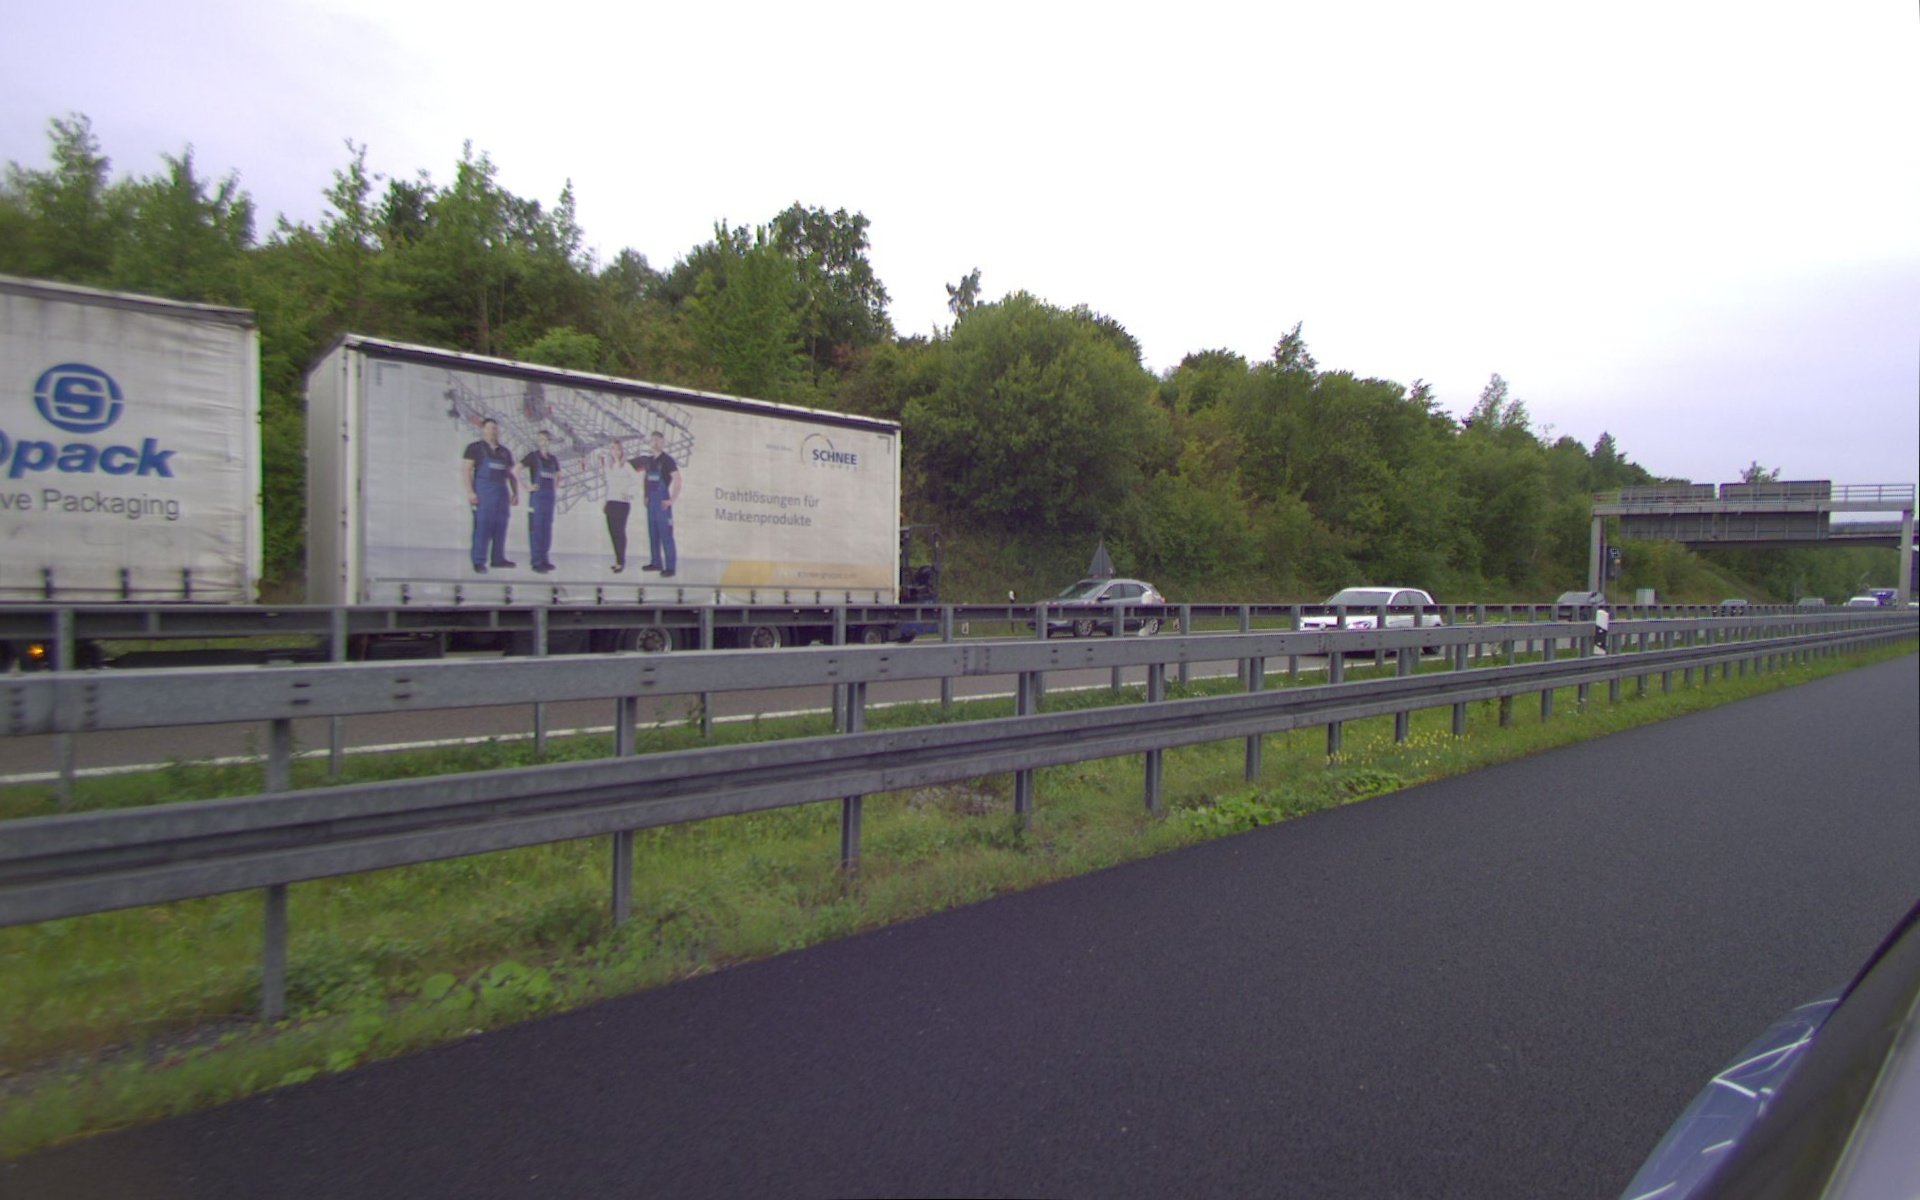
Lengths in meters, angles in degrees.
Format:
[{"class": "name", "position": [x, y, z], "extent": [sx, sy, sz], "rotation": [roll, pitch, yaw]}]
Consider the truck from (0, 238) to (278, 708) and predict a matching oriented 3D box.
[{"class": "truck", "position": [-12.219, -1.199, 8.661], "extent": [10.239, 4.343, 3.442], "rotation": [0, 1, -42]}]

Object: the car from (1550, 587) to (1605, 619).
[{"class": "car", "position": [32.650, 0.138, 53.465], "extent": [1.858, 1.602, 4.178], "rotation": [1, 1, 41]}]

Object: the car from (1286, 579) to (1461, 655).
[{"class": "car", "position": [8.927, 0.307, 21.713], "extent": [4.086, 1.465, 1.863], "rotation": [-1, 1, -41]}]

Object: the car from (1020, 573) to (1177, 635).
[{"class": "car", "position": [3.999, 0.070, 28.884], "extent": [4.415, 1.634, 1.865], "rotation": [0, 1, -36]}]

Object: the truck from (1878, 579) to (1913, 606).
[{"class": "truck", "position": [122.946, -1.045, 132.976], "extent": [9.130, 3.460, 2.904], "rotation": [-1, 1, -44]}]

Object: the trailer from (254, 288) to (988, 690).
[{"class": "trailer", "position": [-4.484, -1.253, 15.675], "extent": [10.273, 4.343, 3.443], "rotation": [0, 1, -42]}]

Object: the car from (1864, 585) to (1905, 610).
[{"class": "car", "position": [71.268, -0.193, 78.027], "extent": [4.567, 1.827, 1.863], "rotation": [0, 1, -42]}]
